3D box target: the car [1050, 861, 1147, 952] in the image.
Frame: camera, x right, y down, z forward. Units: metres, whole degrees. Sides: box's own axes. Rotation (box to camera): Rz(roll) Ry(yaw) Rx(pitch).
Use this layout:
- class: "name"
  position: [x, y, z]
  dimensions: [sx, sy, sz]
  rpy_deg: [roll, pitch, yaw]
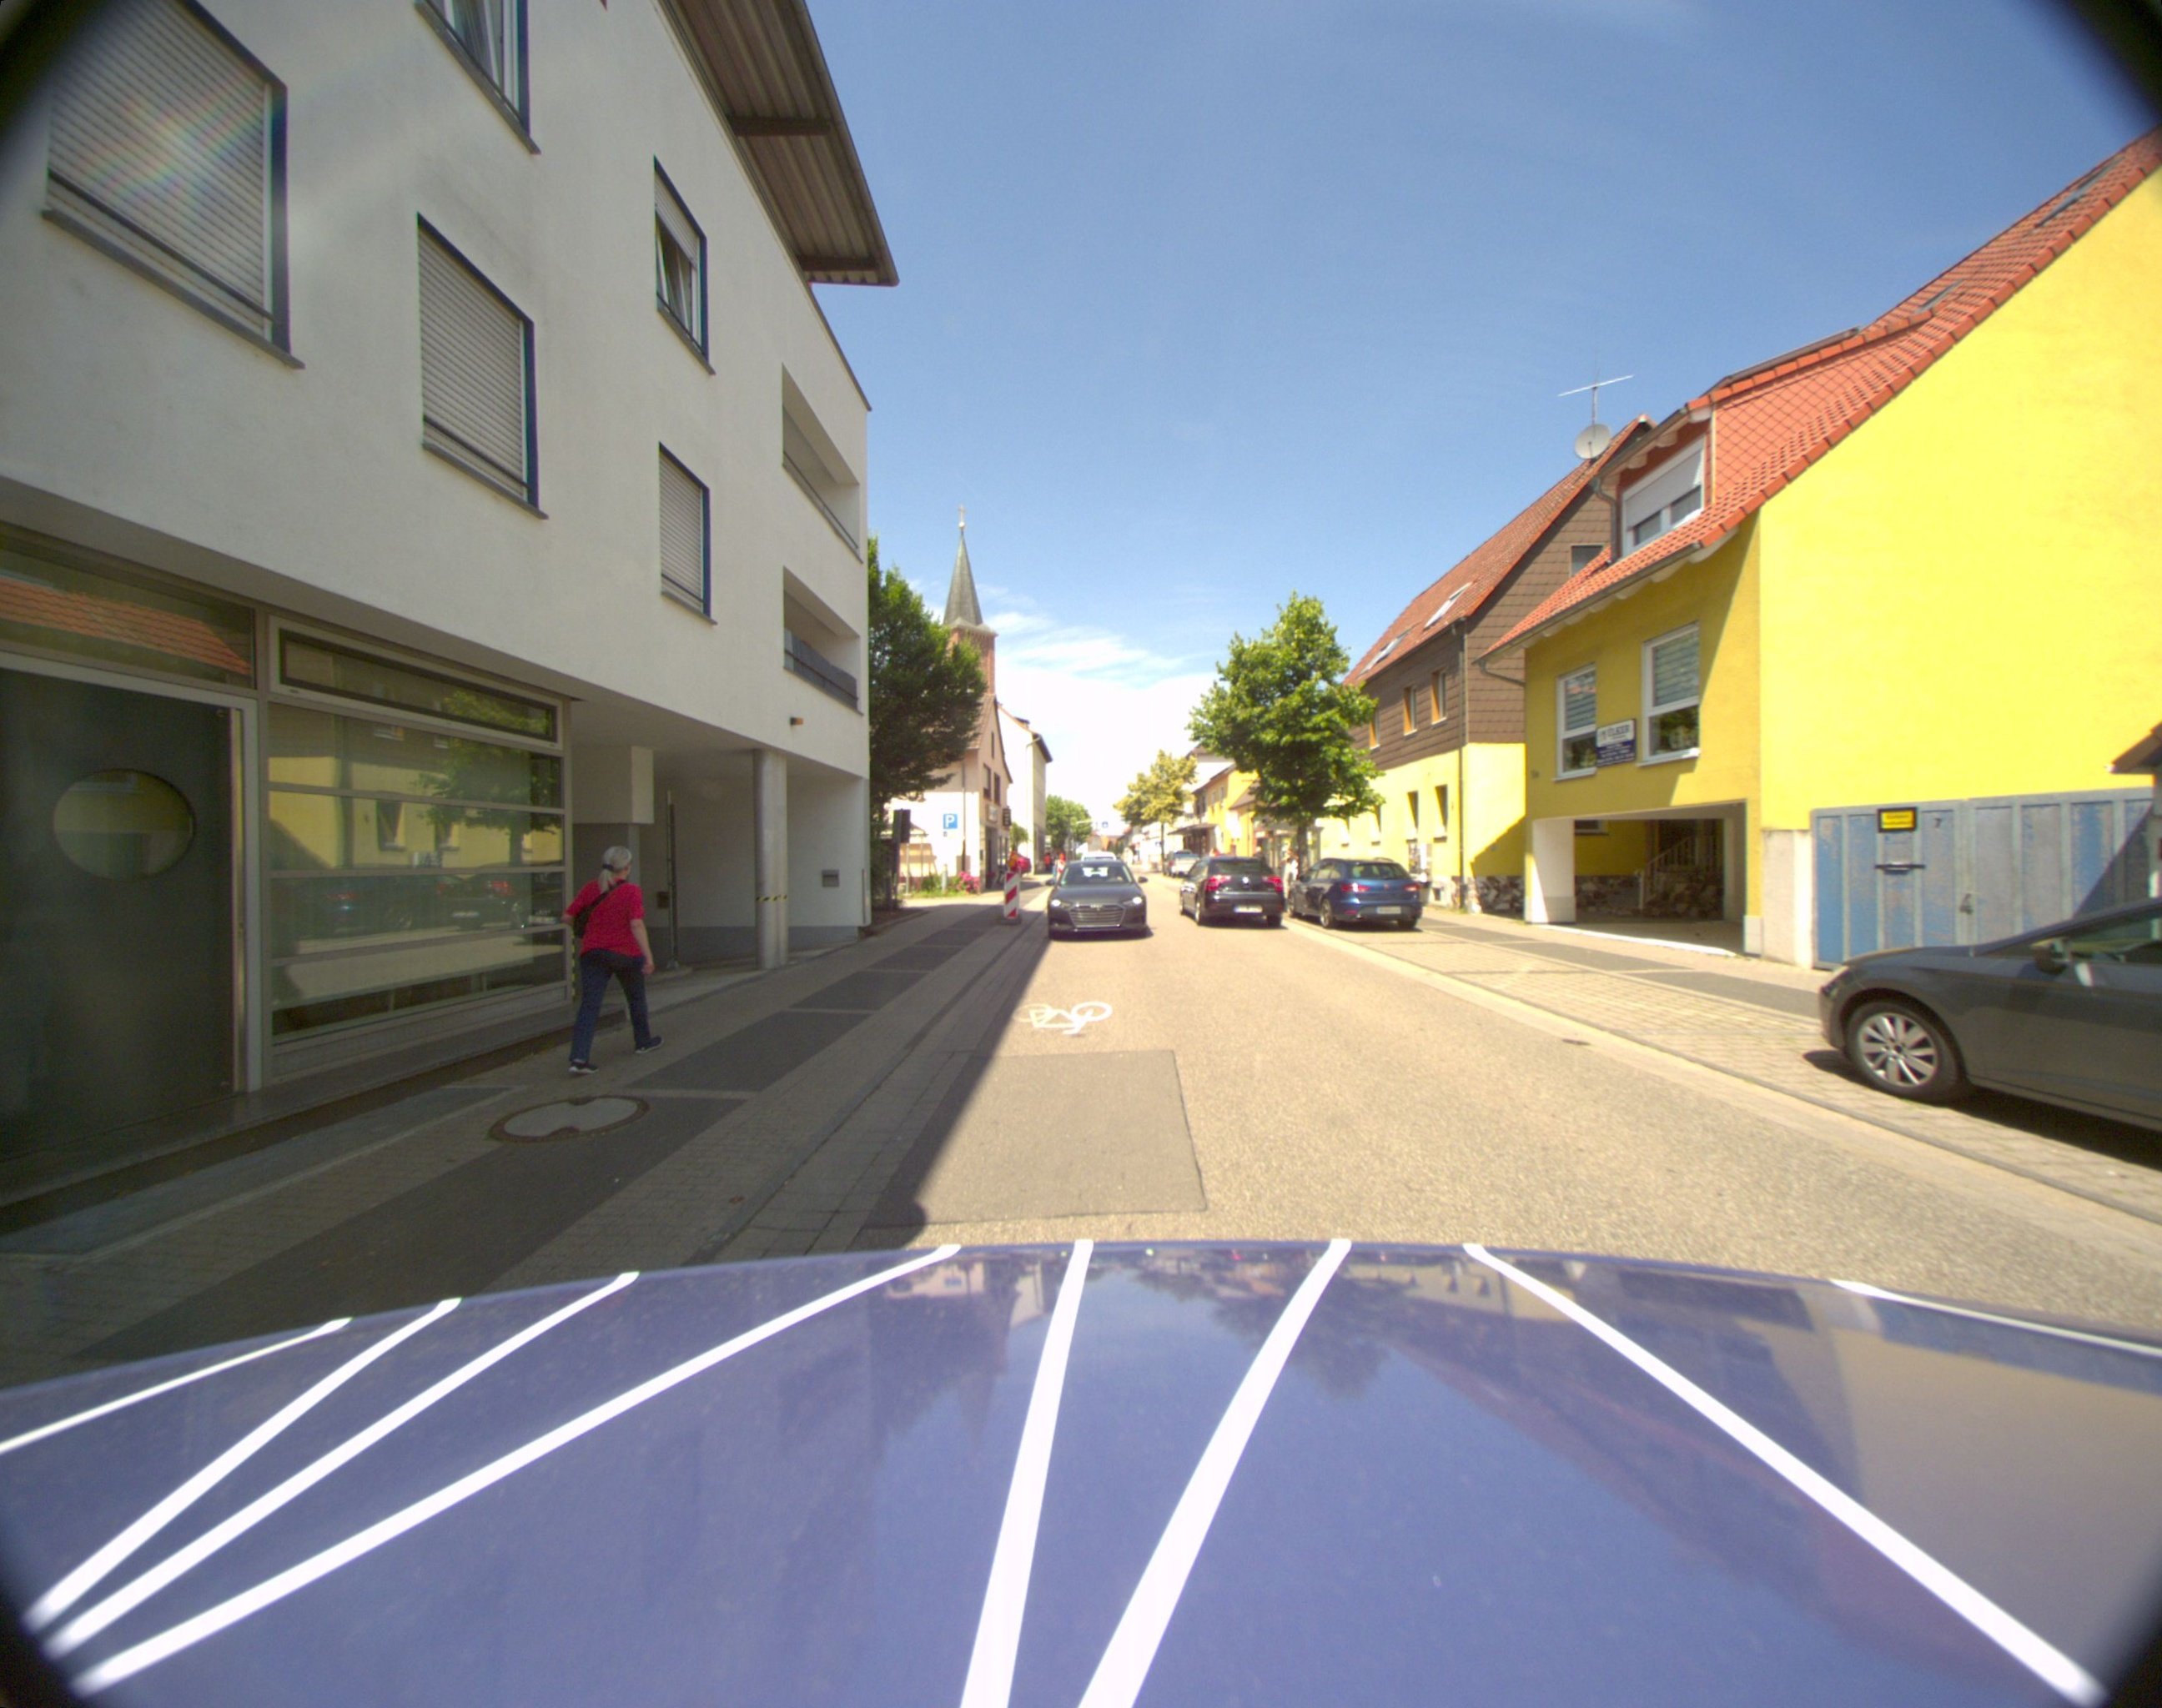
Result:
- class: "car"
  position: [0.331, 0.898, 14.671]
  dimensions: [1.581, 1.424, 4.065]
  rpy_deg: [-2, 0, 1]

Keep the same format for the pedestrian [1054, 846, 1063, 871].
- class: "pedestrian"
  position: [-1.718, 0.351, 57.963]
  dimensions: [0.581, 1.875, 0.695]
  rpy_deg: [0, 1, 4]

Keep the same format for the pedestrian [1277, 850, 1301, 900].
- class: "pedestrian"
  position: [6.616, 0.656, 24.159]
  dimensions: [0.631, 1.592, 0.528]
  rpy_deg: [0, 1, 2]

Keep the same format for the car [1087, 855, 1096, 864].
- class: "car"
  position: [2.229, 1.126, 159.229]
  dimensions: [1.720, 1.577, 3.730]
  rpy_deg: [-3, 1, 0]

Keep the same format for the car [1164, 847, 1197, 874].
- class: "car"
  position: [6.790, 0.413, 52.206]
  dimensions: [1.695, 1.742, 3.999]
  rpy_deg: [-3, 0, 0]

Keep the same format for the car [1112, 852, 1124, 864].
- class: "car"
  position: [6.001, 0.678, 123.802]
  dimensions: [1.695, 1.761, 3.999]
  rpy_deg: [-4, 0, 0]

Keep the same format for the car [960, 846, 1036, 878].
- class: "car"
  position: [-4.859, 0.460, 44.824]
  dimensions: [4.203, 1.849, 2.000]
  rpy_deg: [0, 1, 1]

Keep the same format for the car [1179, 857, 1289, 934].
- class: "car"
  position: [3.260, 0.826, 16.897]
  dimensions: [1.692, 1.464, 4.000]
  rpy_deg: [0, 0, 1]

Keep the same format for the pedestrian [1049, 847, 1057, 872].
- class: "pedestrian"
  position: [-2.097, 0.383, 56.791]
  dimensions: [0.581, 1.875, 0.695]
  rpy_deg: [0, 1, 4]

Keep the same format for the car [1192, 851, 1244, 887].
- class: "car"
  position: [6.341, 0.638, 35.609]
  dimensions: [1.753, 1.566, 4.158]
  rpy_deg: [-1, 0, 2]

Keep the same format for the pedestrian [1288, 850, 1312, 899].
- class: "pedestrian"
  position: [7.123, 0.654, 24.703]
  dimensions: [0.631, 1.592, 0.528]
  rpy_deg: [0, 1, 2]

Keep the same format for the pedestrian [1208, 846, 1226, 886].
- class: "pedestrian"
  position: [5.686, 0.484, 31.765]
  dimensions: [0.643, 1.645, 0.624]
  rpy_deg: [0, 1, 1]

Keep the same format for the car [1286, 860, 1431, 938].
- class: "car"
  position: [5.687, 0.850, 16.132]
  dimensions: [1.660, 1.399, 4.158]
  rpy_deg: [0, 0, 2]

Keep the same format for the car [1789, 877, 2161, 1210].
- class: "car"
  position: [5.682, 0.884, 3.179]
  dimensions: [1.649, 1.422, 4.098]
  rpy_deg: [-1, 0, 0]

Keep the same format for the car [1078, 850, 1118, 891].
- class: "car"
  position: [0.714, 0.653, 31.942]
  dimensions: [1.581, 1.620, 4.065]
  rpy_deg: [0, 0, 1]

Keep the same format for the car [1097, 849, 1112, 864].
- class: "car"
  position: [2.510, 0.235, 82.128]
  dimensions: [1.581, 1.620, 4.065]
  rpy_deg: [0, 0, 1]

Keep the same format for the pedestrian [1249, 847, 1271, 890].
- class: "pedestrian"
  position: [6.801, 0.547, 28.833]
  dimensions: [0.663, 1.592, 0.771]
  rpy_deg: [0, 1, 2]

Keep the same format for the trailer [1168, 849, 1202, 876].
- class: "trailer"
  position: [6.567, 0.536, 48.112]
  dimensions: [1.493, 1.571, 3.883]
  rpy_deg: [-3, 0, -1]

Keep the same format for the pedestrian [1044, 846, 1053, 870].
- class: "pedestrian"
  position: [-2.527, 0.329, 59.197]
  dimensions: [0.581, 1.875, 0.695]
  rpy_deg: [0, 1, 4]

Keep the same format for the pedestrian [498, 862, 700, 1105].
- class: "pedestrian"
  position: [-3.461, 0.873, 5.546]
  dimensions: [0.825, 1.579, 0.919]
  rpy_deg: [2, 1, 2]
